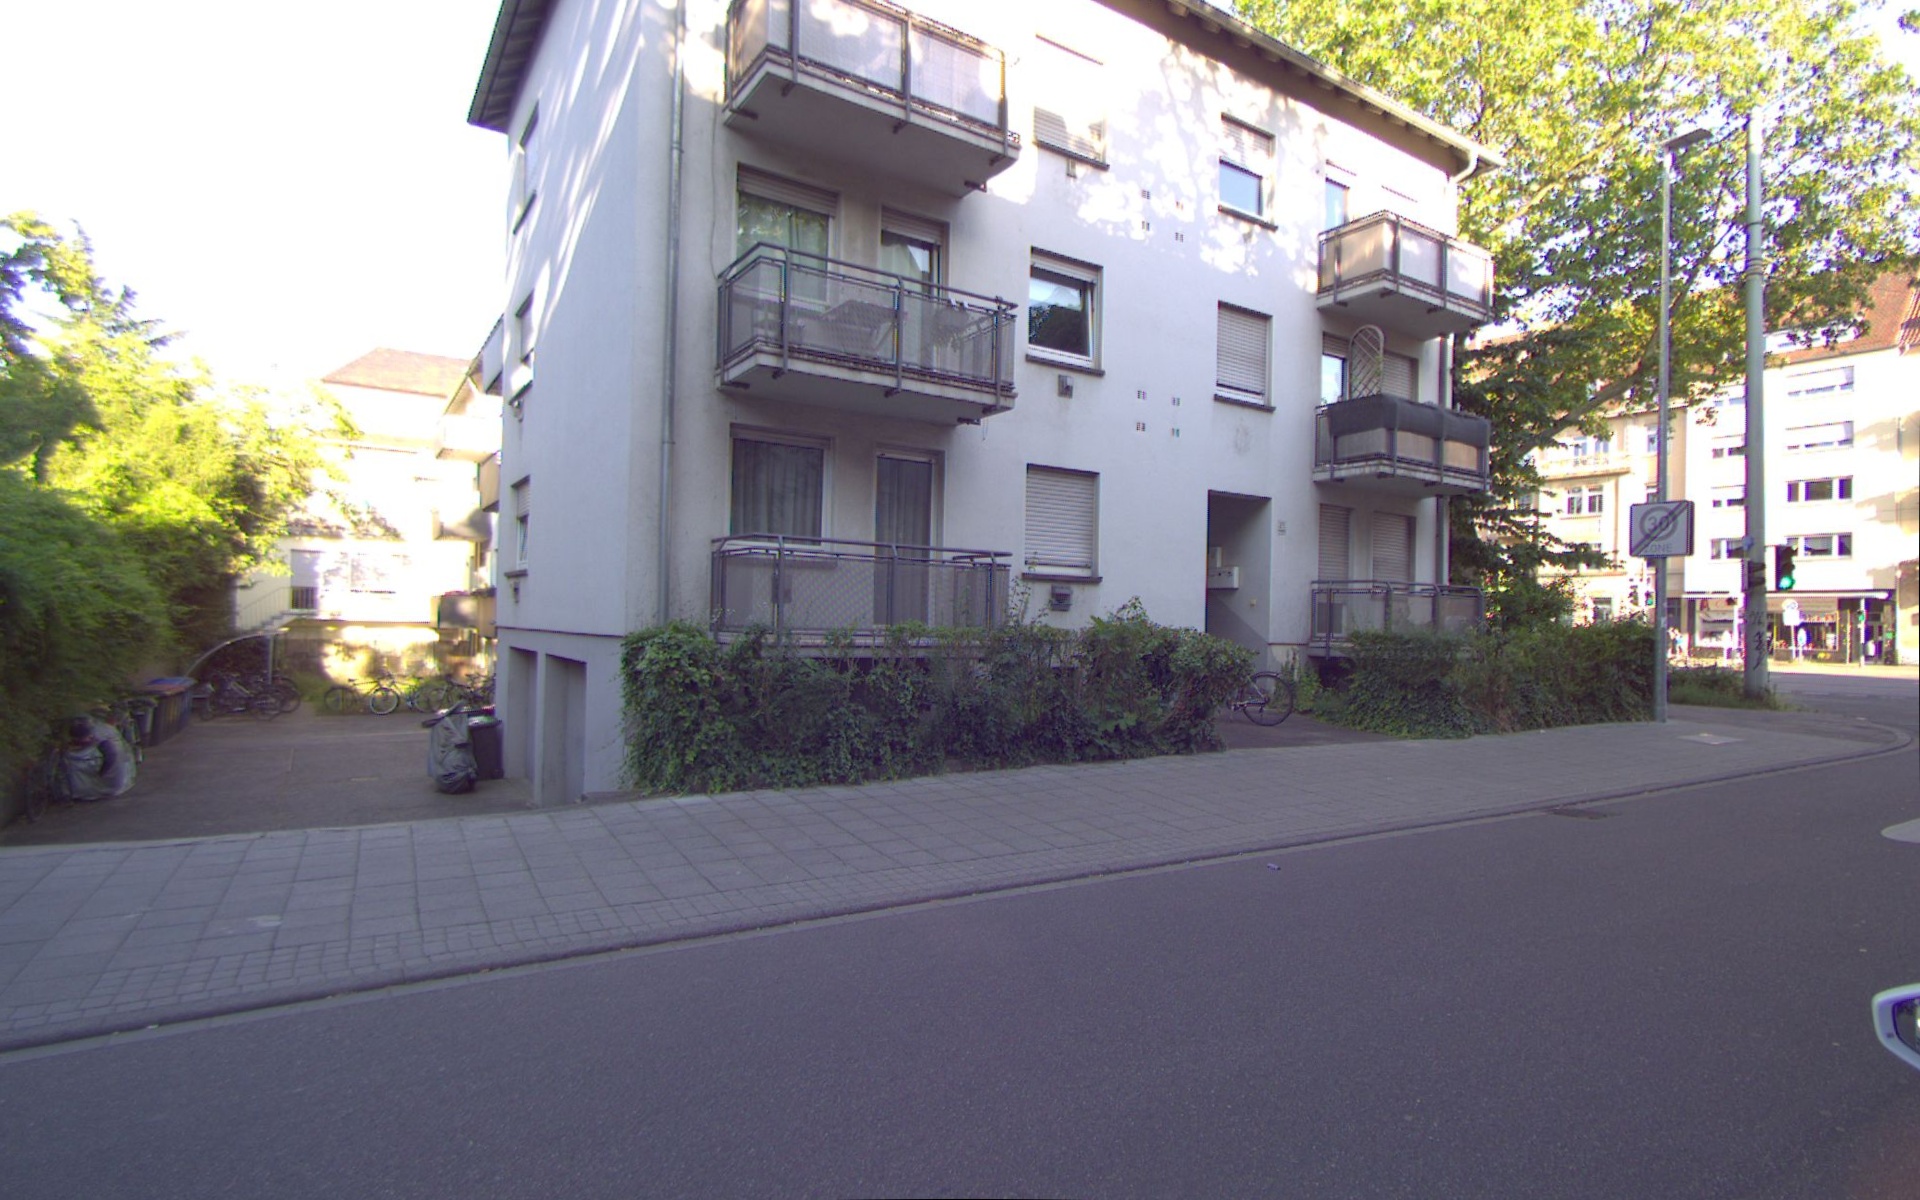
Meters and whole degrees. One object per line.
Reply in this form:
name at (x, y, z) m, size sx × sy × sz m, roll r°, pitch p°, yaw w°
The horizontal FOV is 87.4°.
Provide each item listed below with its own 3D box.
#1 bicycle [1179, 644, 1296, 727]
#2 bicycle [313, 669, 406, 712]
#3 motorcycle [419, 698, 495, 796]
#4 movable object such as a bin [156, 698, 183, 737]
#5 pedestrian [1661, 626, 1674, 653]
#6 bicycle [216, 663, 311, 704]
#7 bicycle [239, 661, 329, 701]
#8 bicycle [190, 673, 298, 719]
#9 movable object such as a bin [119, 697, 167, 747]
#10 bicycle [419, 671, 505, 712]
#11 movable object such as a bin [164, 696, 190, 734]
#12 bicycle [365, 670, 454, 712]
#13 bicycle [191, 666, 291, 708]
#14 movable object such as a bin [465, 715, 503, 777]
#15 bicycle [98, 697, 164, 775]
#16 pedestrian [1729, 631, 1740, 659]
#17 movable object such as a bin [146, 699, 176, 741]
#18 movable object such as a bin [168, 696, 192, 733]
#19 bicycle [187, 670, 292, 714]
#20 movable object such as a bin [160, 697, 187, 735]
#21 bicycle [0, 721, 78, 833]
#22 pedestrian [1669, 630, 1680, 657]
bicycle at (3.739, 1.136, 13.547) m, size 1.433 × 0.988 × 0.407 m, roll 3°, pitch 0°, yaw 21°
bicycle at (-15.832, 2.408, 26.556) m, size 2.045 × 1.034 × 0.637 m, roll 4°, pitch 0°, yaw -30°
motorcycle at (-7.519, 2.150, 14.980) m, size 0.751 × 1.268 × 1.578 m, roll 1°, pitch -2°, yaw -36°
movable object such as a bin at (-16.173, 2.393, 20.554) m, size 0.371 × 0.768 × 0.361 m, roll 2°, pitch -4°, yaw -30°
pedestrian at (40.945, 2.290, 58.145) m, size 0.558 × 1.531 × 0.499 m, roll 0°, pitch -1°, yaw 41°
bicycle at (-19.133, 2.309, 27.637) m, size 2.045 × 1.034 × 0.611 m, roll 4°, pitch 0°, yaw -30°
bicycle at (-19.156, 2.312, 28.509) m, size 2.045 × 1.034 × 0.564 m, roll 4°, pitch 0°, yaw -30°
bicycle at (-17.416, 2.348, 24.494) m, size 2.045 × 1.034 × 0.637 m, roll 4°, pitch 0°, yaw -30°
movable object such as a bin at (-15.094, 2.243, 18.562) m, size 0.570 × 0.891 × 0.491 m, roll 2°, pitch -4°, yaw -30°
bicycle at (-13.761, 2.548, 27.790) m, size 2.045 × 1.034 × 0.637 m, roll 4°, pitch 0°, yaw -30°
movable object such as a bin at (-16.545, 2.422, 21.229) m, size 0.362 × 0.768 × 0.361 m, roll 2°, pitch -4°, yaw -30°
bicycle at (-14.856, 2.475, 27.150) m, size 2.045 × 1.034 × 0.637 m, roll 4°, pitch 0°, yaw -30°
bicycle at (-18.999, 2.308, 26.600) m, size 2.045 × 1.034 × 0.611 m, roll 4°, pitch 0°, yaw -30°
movable object such as a bin at (-7.645, 2.328, 16.122) m, size 0.428 × 0.899 × 0.720 m, roll 2°, pitch -2°, yaw -34°
bicycle at (-13.366, 2.162, 16.235) m, size 0.509 × 1.033 × 1.922 m, roll 3°, pitch -1°, yaw -32°
pedestrian at (43.048, 2.520, 55.857) m, size 0.467 × 1.531 × 0.429 m, roll 0°, pitch -1°, yaw 41°
movable object such as a bin at (-15.772, 2.362, 19.836) m, size 0.393 × 0.784 × 0.361 m, roll 2°, pitch -4°, yaw -30°
movable object such as a bin at (-16.750, 2.455, 21.573) m, size 0.342 × 0.768 × 0.361 m, roll 2°, pitch -4°, yaw -30°
bicycle at (-18.167, 2.329, 25.373) m, size 2.045 × 1.034 × 0.568 m, roll 4°, pitch 0°, yaw -30°
movable object such as a bin at (-16.351, 2.407, 20.888) m, size 0.362 × 0.768 × 0.361 m, roll 2°, pitch -4°, yaw -30°
bicycle at (-11.127, 2.072, 12.018) m, size 0.509 × 1.033 × 1.922 m, roll 3°, pitch -1°, yaw -32°
pedestrian at (41.187, 2.490, 57.884) m, size 0.502 × 1.531 × 0.535 m, roll 0°, pitch -1°, yaw 37°
